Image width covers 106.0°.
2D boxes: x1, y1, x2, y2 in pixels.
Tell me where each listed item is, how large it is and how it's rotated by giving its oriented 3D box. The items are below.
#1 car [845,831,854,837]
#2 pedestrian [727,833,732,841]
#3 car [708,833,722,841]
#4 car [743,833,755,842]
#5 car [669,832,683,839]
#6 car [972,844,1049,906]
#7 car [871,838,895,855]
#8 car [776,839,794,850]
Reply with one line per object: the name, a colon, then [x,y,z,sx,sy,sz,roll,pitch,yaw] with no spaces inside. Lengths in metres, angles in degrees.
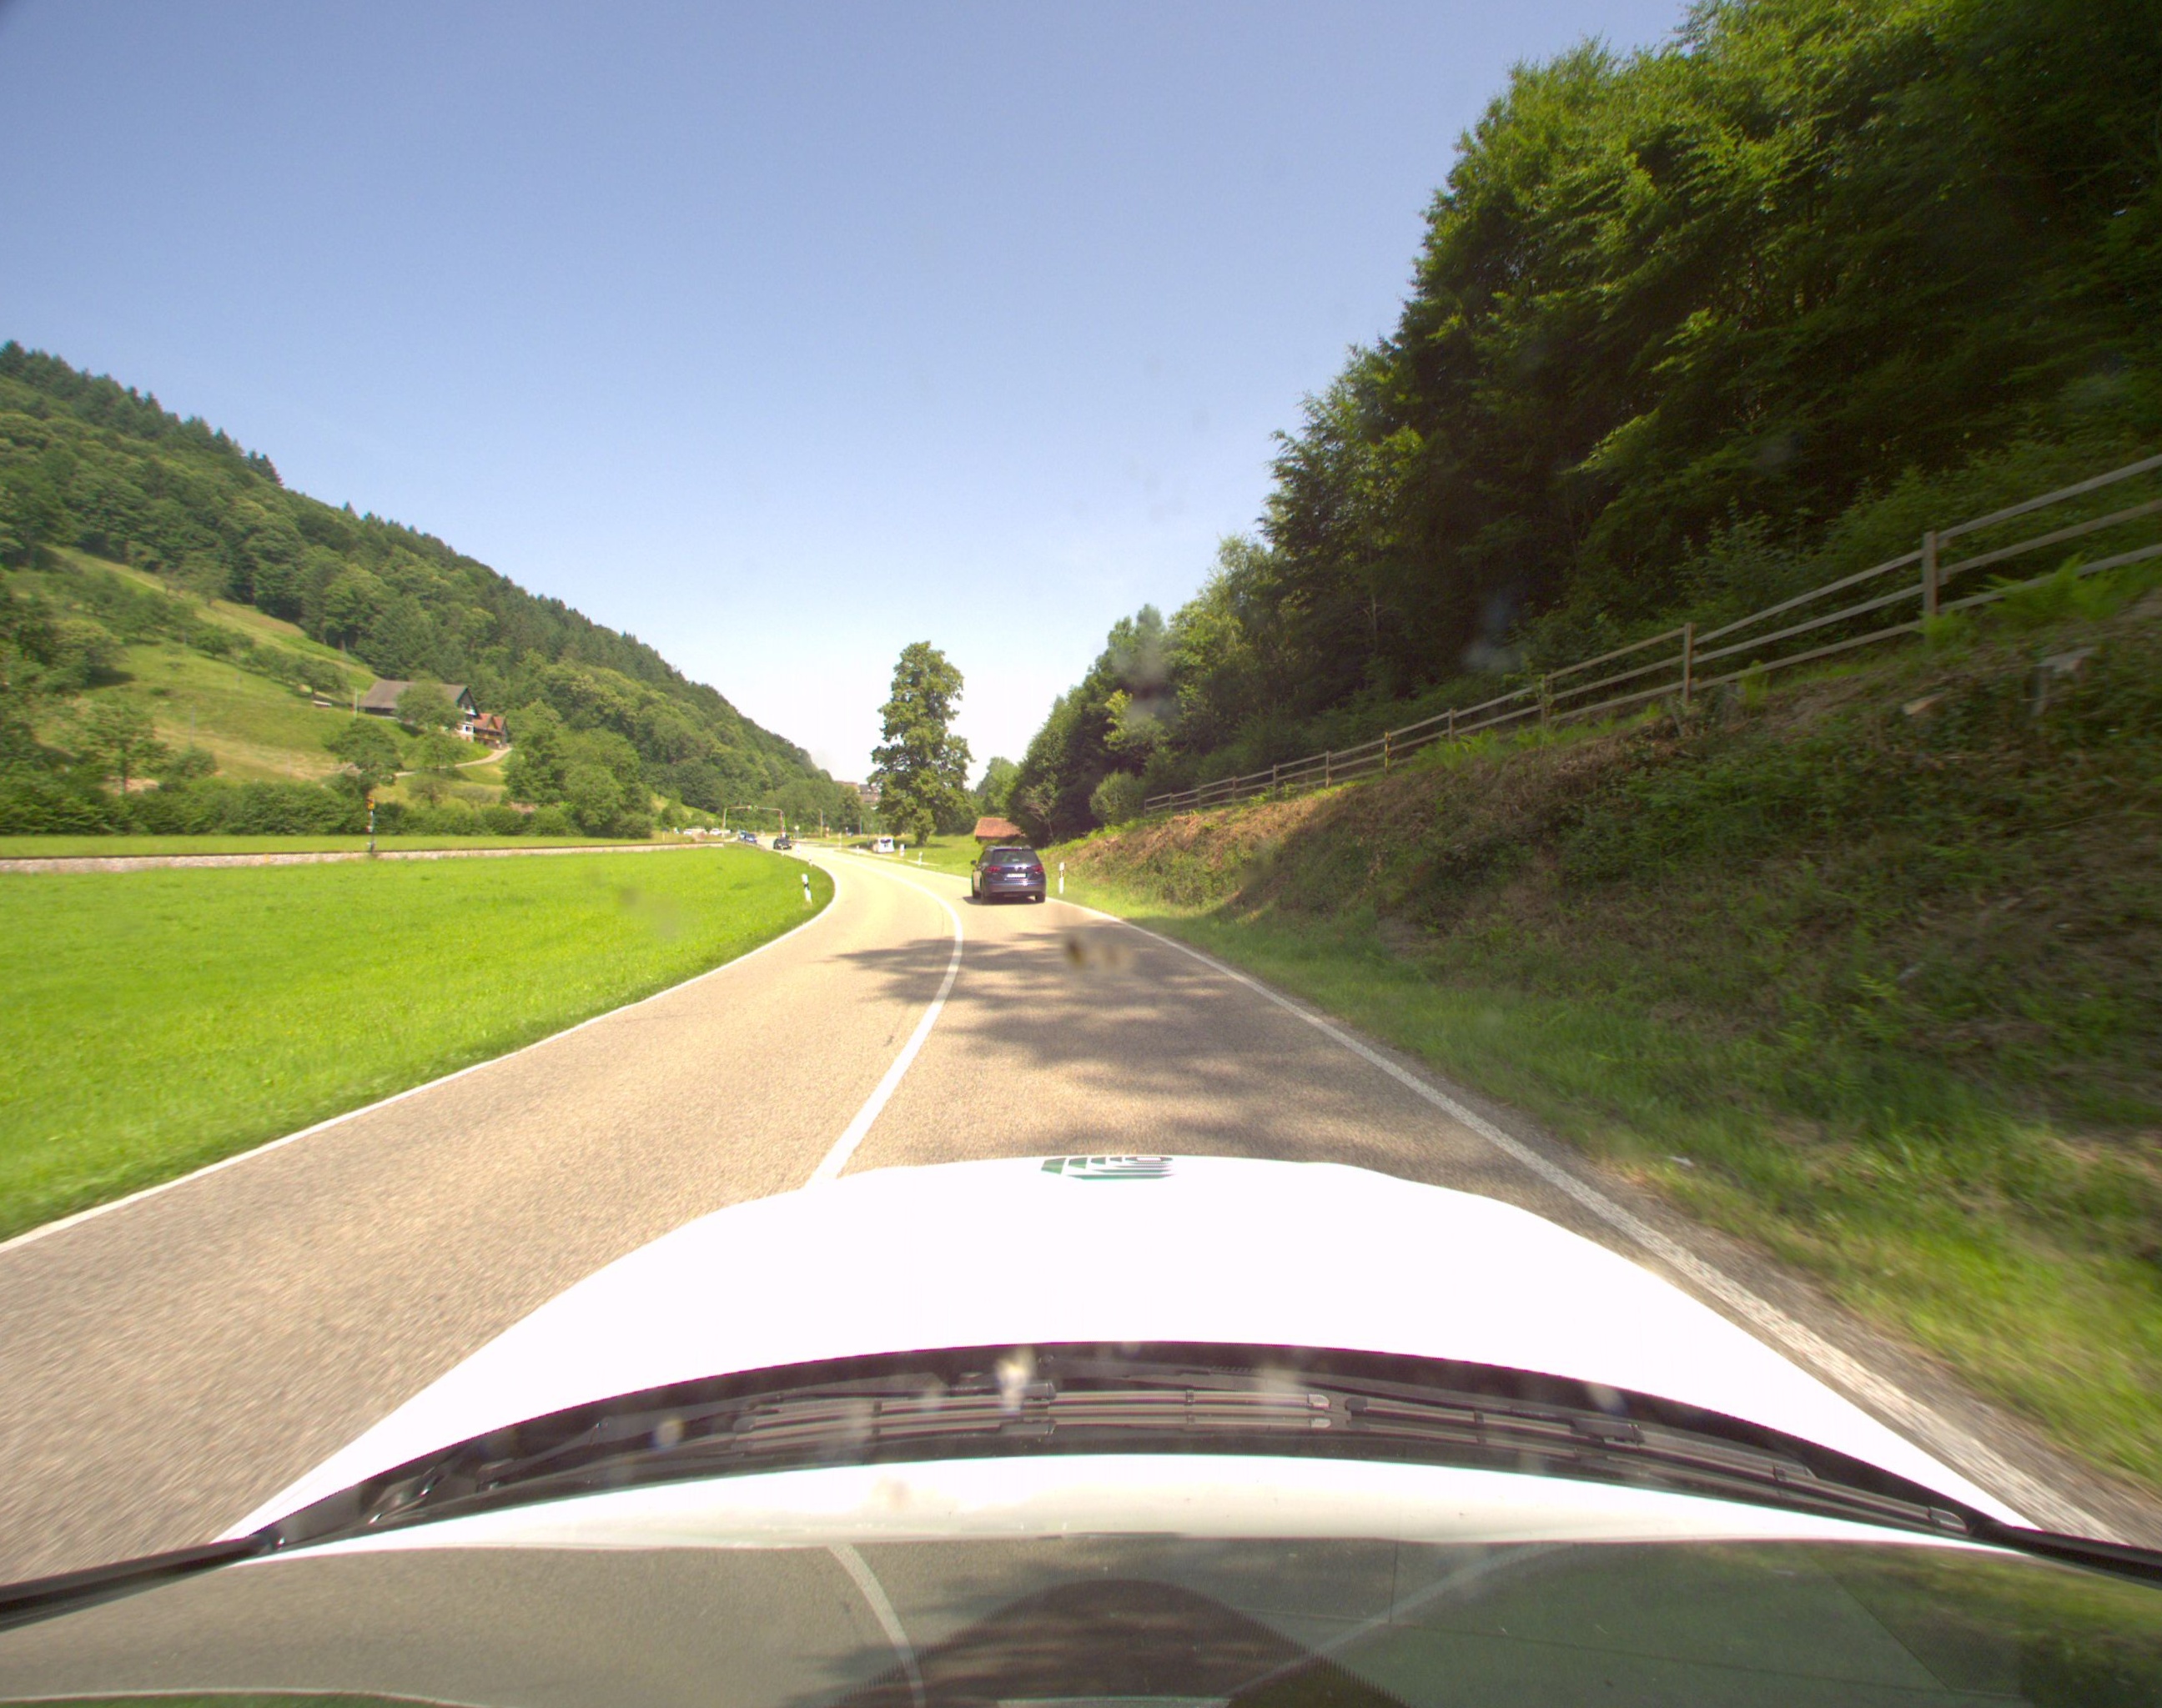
car: [-70.854,-6.000,248.974,1.801,1.618,3.992,1,-1,-5]
pedestrian: [-79.025,-3.858,183.087,0.641,1.858,0.775,1,1,20]
car: [-84.525,-4.037,188.053,1.871,1.782,4.755,2,1,-10]
car: [-60.002,-3.009,146.987,1.874,1.623,4.476,1,1,-24]
car: [-92.131,-4.265,185.396,1.997,1.500,4.498,3,1,-16]
car: [-2.192,0.554,24.202,1.853,1.649,4.125,-1,1,-11]
car: [-24.574,-0.941,100.938,2.009,1.848,4.831,-5,3,-24]
car: [-40.012,-1.278,109.938,1.925,1.470,4.474,0,1,-25]
